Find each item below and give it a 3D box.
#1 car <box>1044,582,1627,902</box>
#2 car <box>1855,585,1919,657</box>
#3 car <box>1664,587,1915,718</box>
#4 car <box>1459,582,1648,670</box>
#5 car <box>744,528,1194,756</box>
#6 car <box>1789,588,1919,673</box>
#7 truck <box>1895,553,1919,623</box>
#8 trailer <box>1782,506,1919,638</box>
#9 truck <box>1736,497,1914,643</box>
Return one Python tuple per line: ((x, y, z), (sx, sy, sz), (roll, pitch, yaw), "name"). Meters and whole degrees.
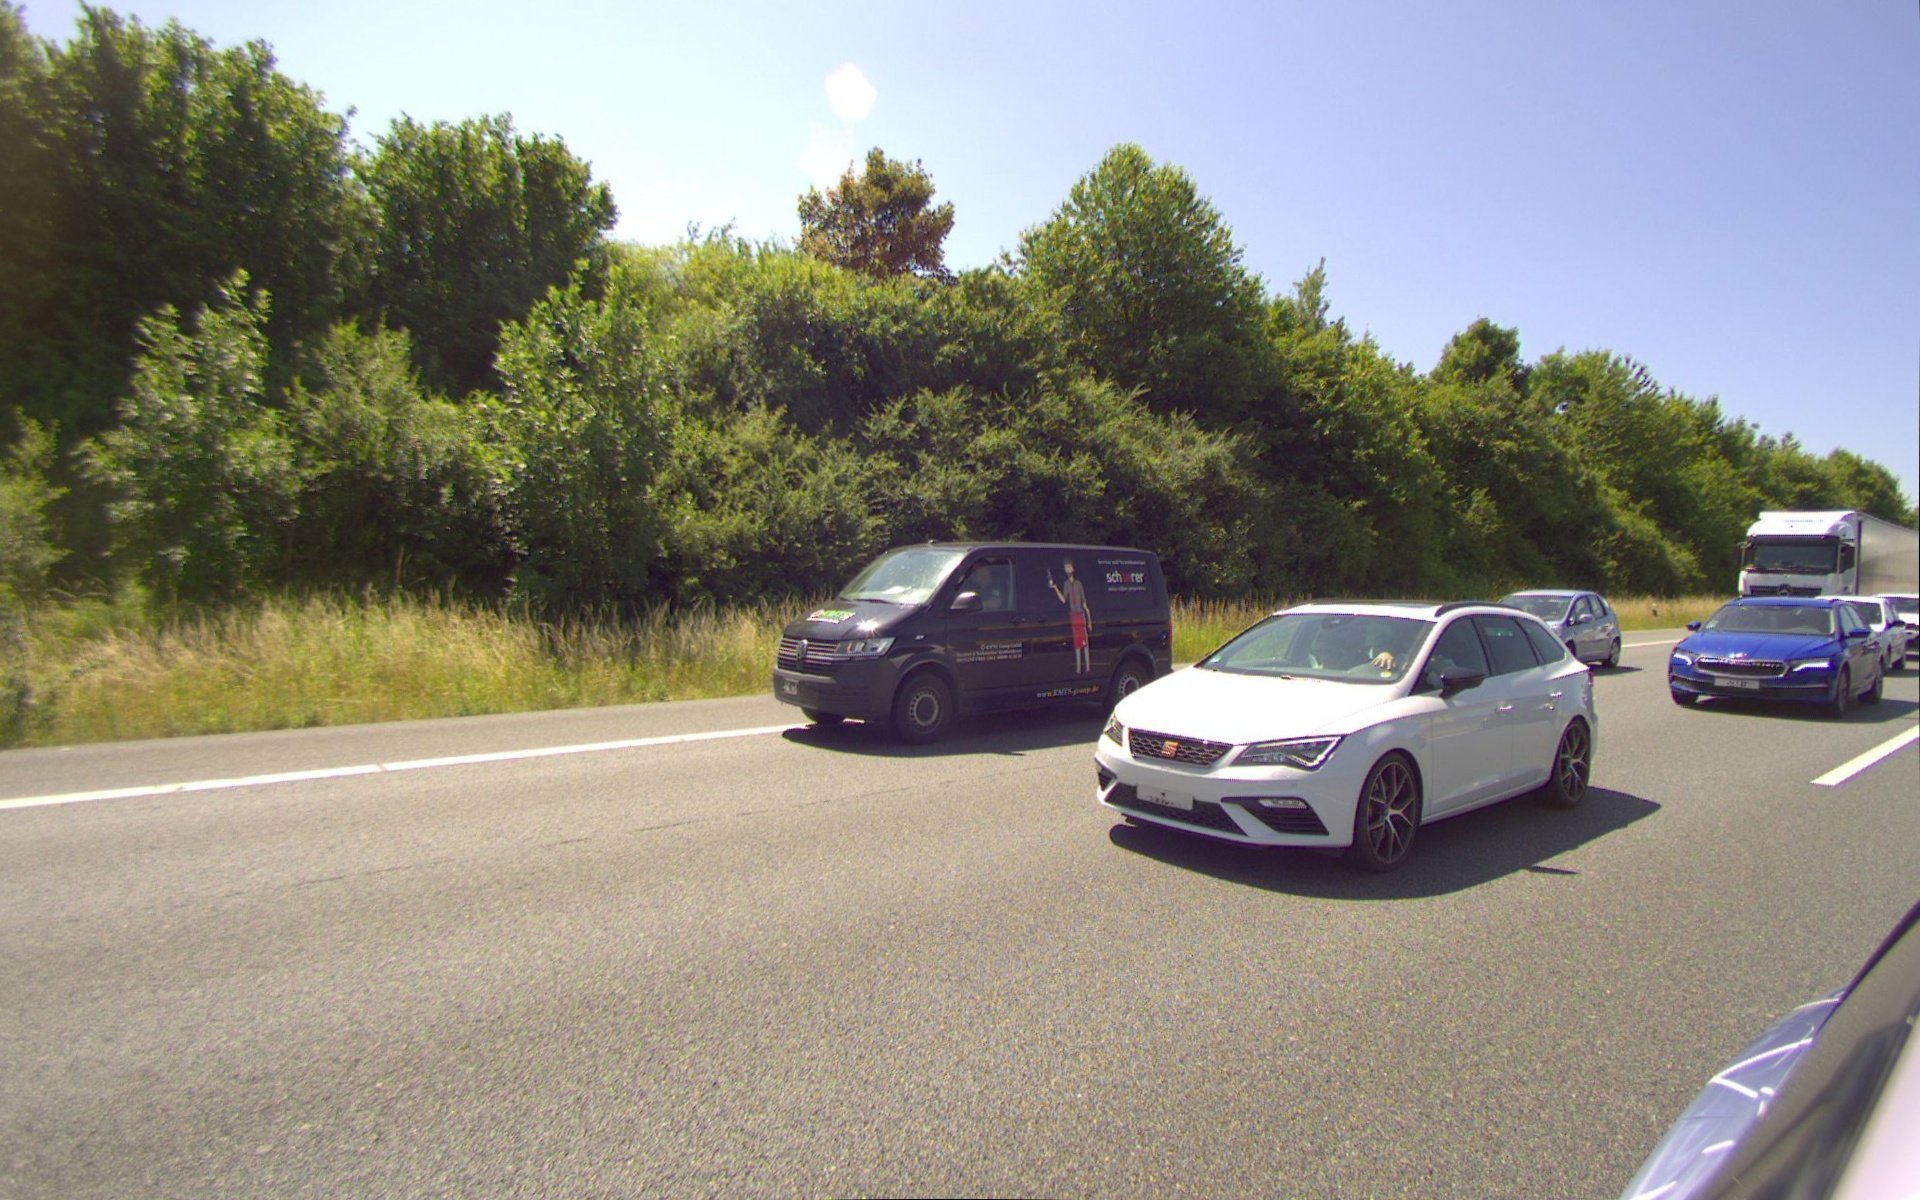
((2.686, 0.623, 6.733), (4.236, 1.461, 1.751), (-1, 2, -39), "car")
((23.054, 0.453, 24.287), (3.815, 1.577, 1.748), (-1, 2, -39), "car")
((11.387, 0.579, 13.785), (4.491, 1.434, 1.780), (-1, 2, -39), "car")
((11.342, 0.431, 19.281), (3.848, 1.479, 1.668), (0, 2, -36), "car")
((0.269, 0.304, 10.955), (4.770, 1.964, 1.918), (-1, 2, -39), "car")
((18.011, 0.533, 20.184), (3.742, 1.451, 1.609), (-1, 2, -40), "car")
((46.153, -0.554, 47.690), (5.572, 3.185, 2.300), (-1, 1, -39), "truck")
((33.760, -0.966, 37.334), (11.857, 4.209, 2.880), (-1, 1, -39), "trailer")
((28.248, -0.918, 32.898), (8.322, 4.209, 2.880), (-1, 1, -39), "truck")
